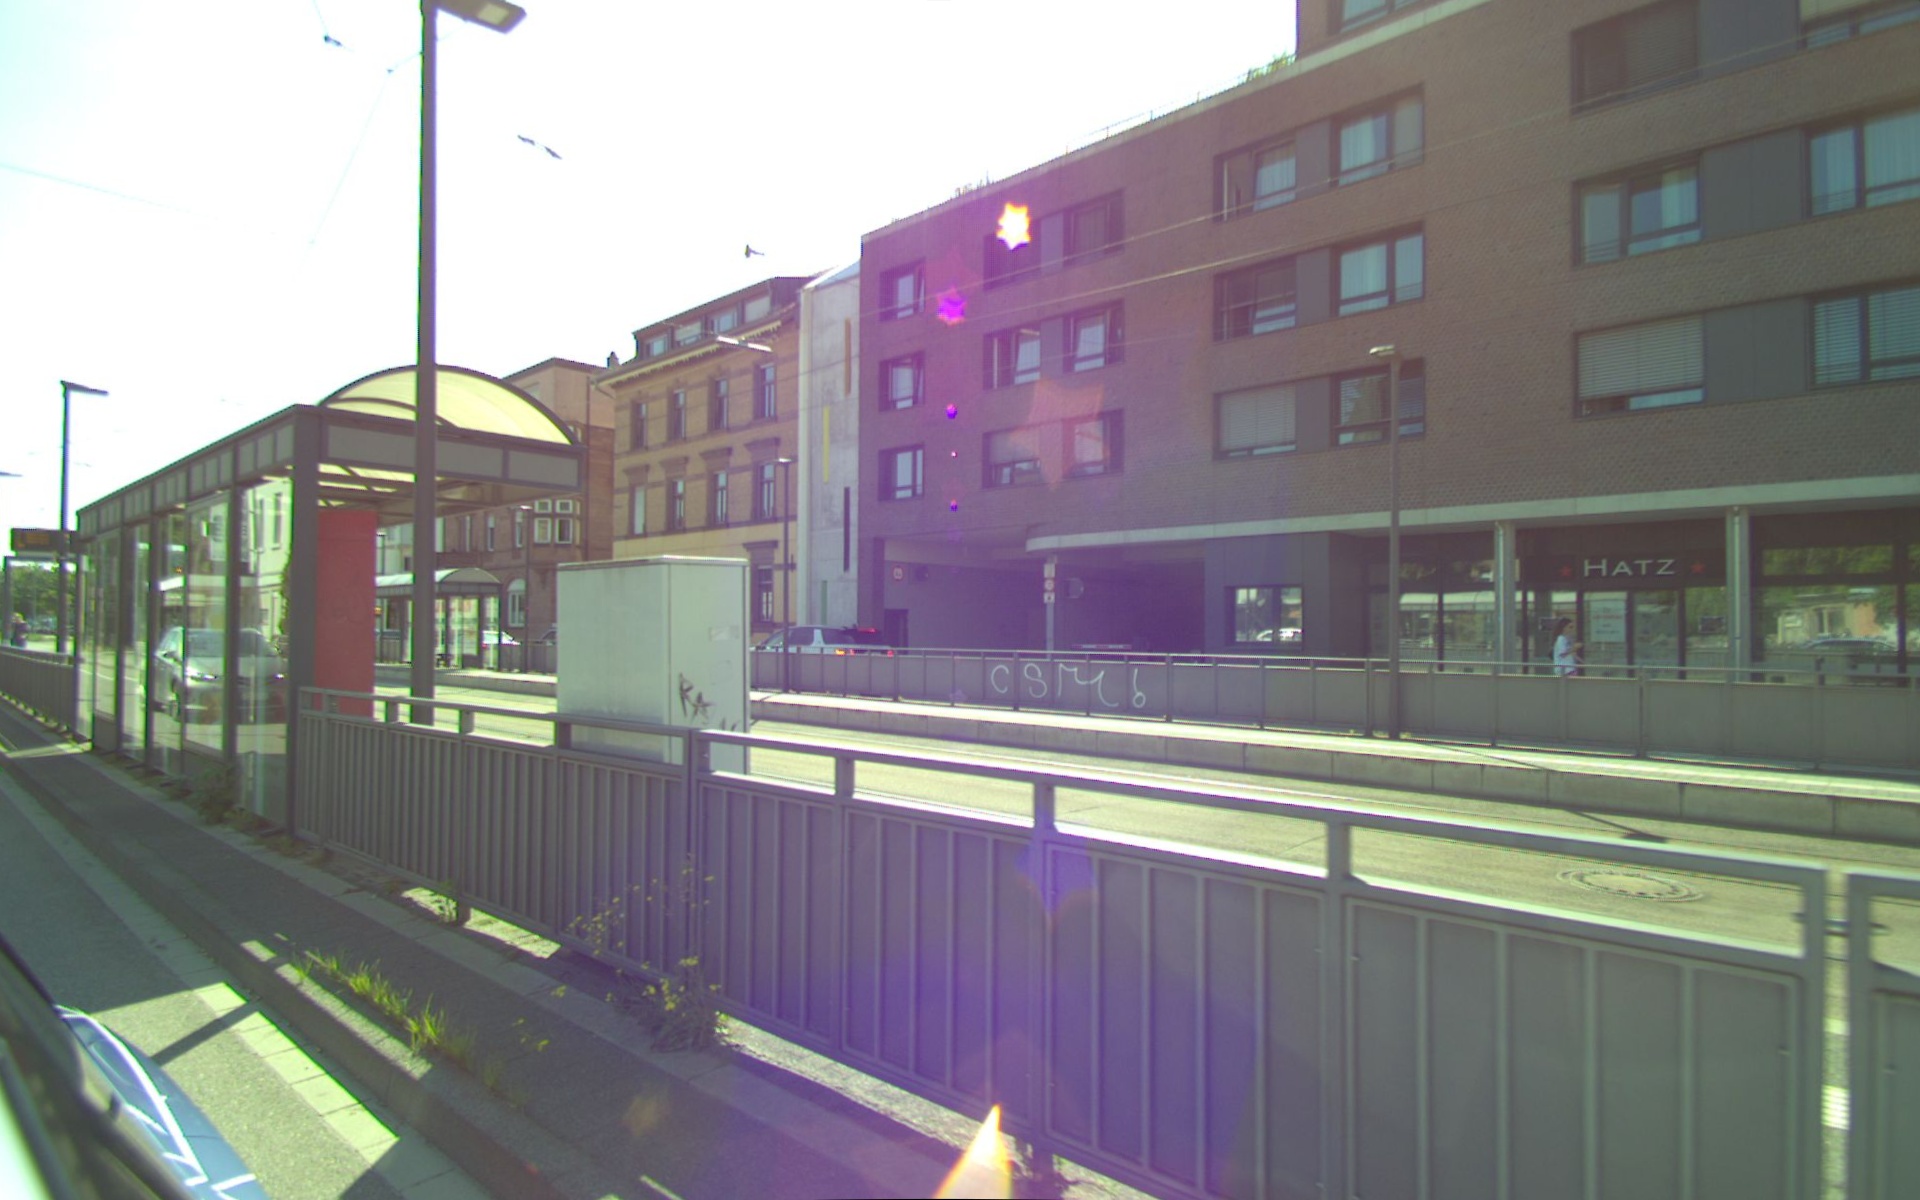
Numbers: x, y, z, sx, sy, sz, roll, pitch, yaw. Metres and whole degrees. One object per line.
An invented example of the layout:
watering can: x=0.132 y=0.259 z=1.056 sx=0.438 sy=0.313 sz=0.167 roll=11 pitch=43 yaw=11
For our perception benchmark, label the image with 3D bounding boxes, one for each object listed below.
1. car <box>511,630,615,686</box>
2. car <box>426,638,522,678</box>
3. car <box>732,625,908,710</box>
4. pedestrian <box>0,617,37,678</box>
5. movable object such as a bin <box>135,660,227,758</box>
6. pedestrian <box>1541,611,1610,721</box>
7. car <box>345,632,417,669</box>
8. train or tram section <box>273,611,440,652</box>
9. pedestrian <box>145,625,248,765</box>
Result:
car: x=-12.713 y=1.805 z=32.328 sx=3.578 sy=1.635 sz=1.693 roll=-2 pitch=-2 yaw=43
car: x=-18.067 y=2.111 z=37.562 sx=4.520 sy=1.374 sz=1.614 roll=-1 pitch=-3 yaw=42
car: x=-3.296 y=1.483 z=23.327 sx=4.189 sy=1.742 sz=1.781 roll=-2 pitch=-1 yaw=43
pedestrian: x=-29.997 y=1.499 z=32.078 sx=1.237 sy=1.873 sz=0.970 roll=-2 pitch=-3 yaw=43
movable object such as a bin: x=-7.713 y=1.060 z=10.028 sx=0.489 sy=0.907 sz=0.622 roll=-2 pitch=-3 yaw=42
pedestrian: x=10.607 y=1.113 z=17.432 sx=0.838 sy=1.833 sz=0.835 roll=-2 pitch=-3 yaw=43
car: x=-24.797 y=2.156 z=43.281 sx=3.865 sy=1.480 sz=1.608 roll=-3 pitch=-3 yaw=43
train or tram section: x=-55.116 y=2.920 z=93.051 sx=2.684 sy=3.507 sz=13.171 roll=-1 pitch=-2 yaw=37
pedestrian: x=-7.270 y=0.875 z=9.637 sx=0.709 sy=1.264 sz=0.622 roll=-2 pitch=-3 yaw=42
